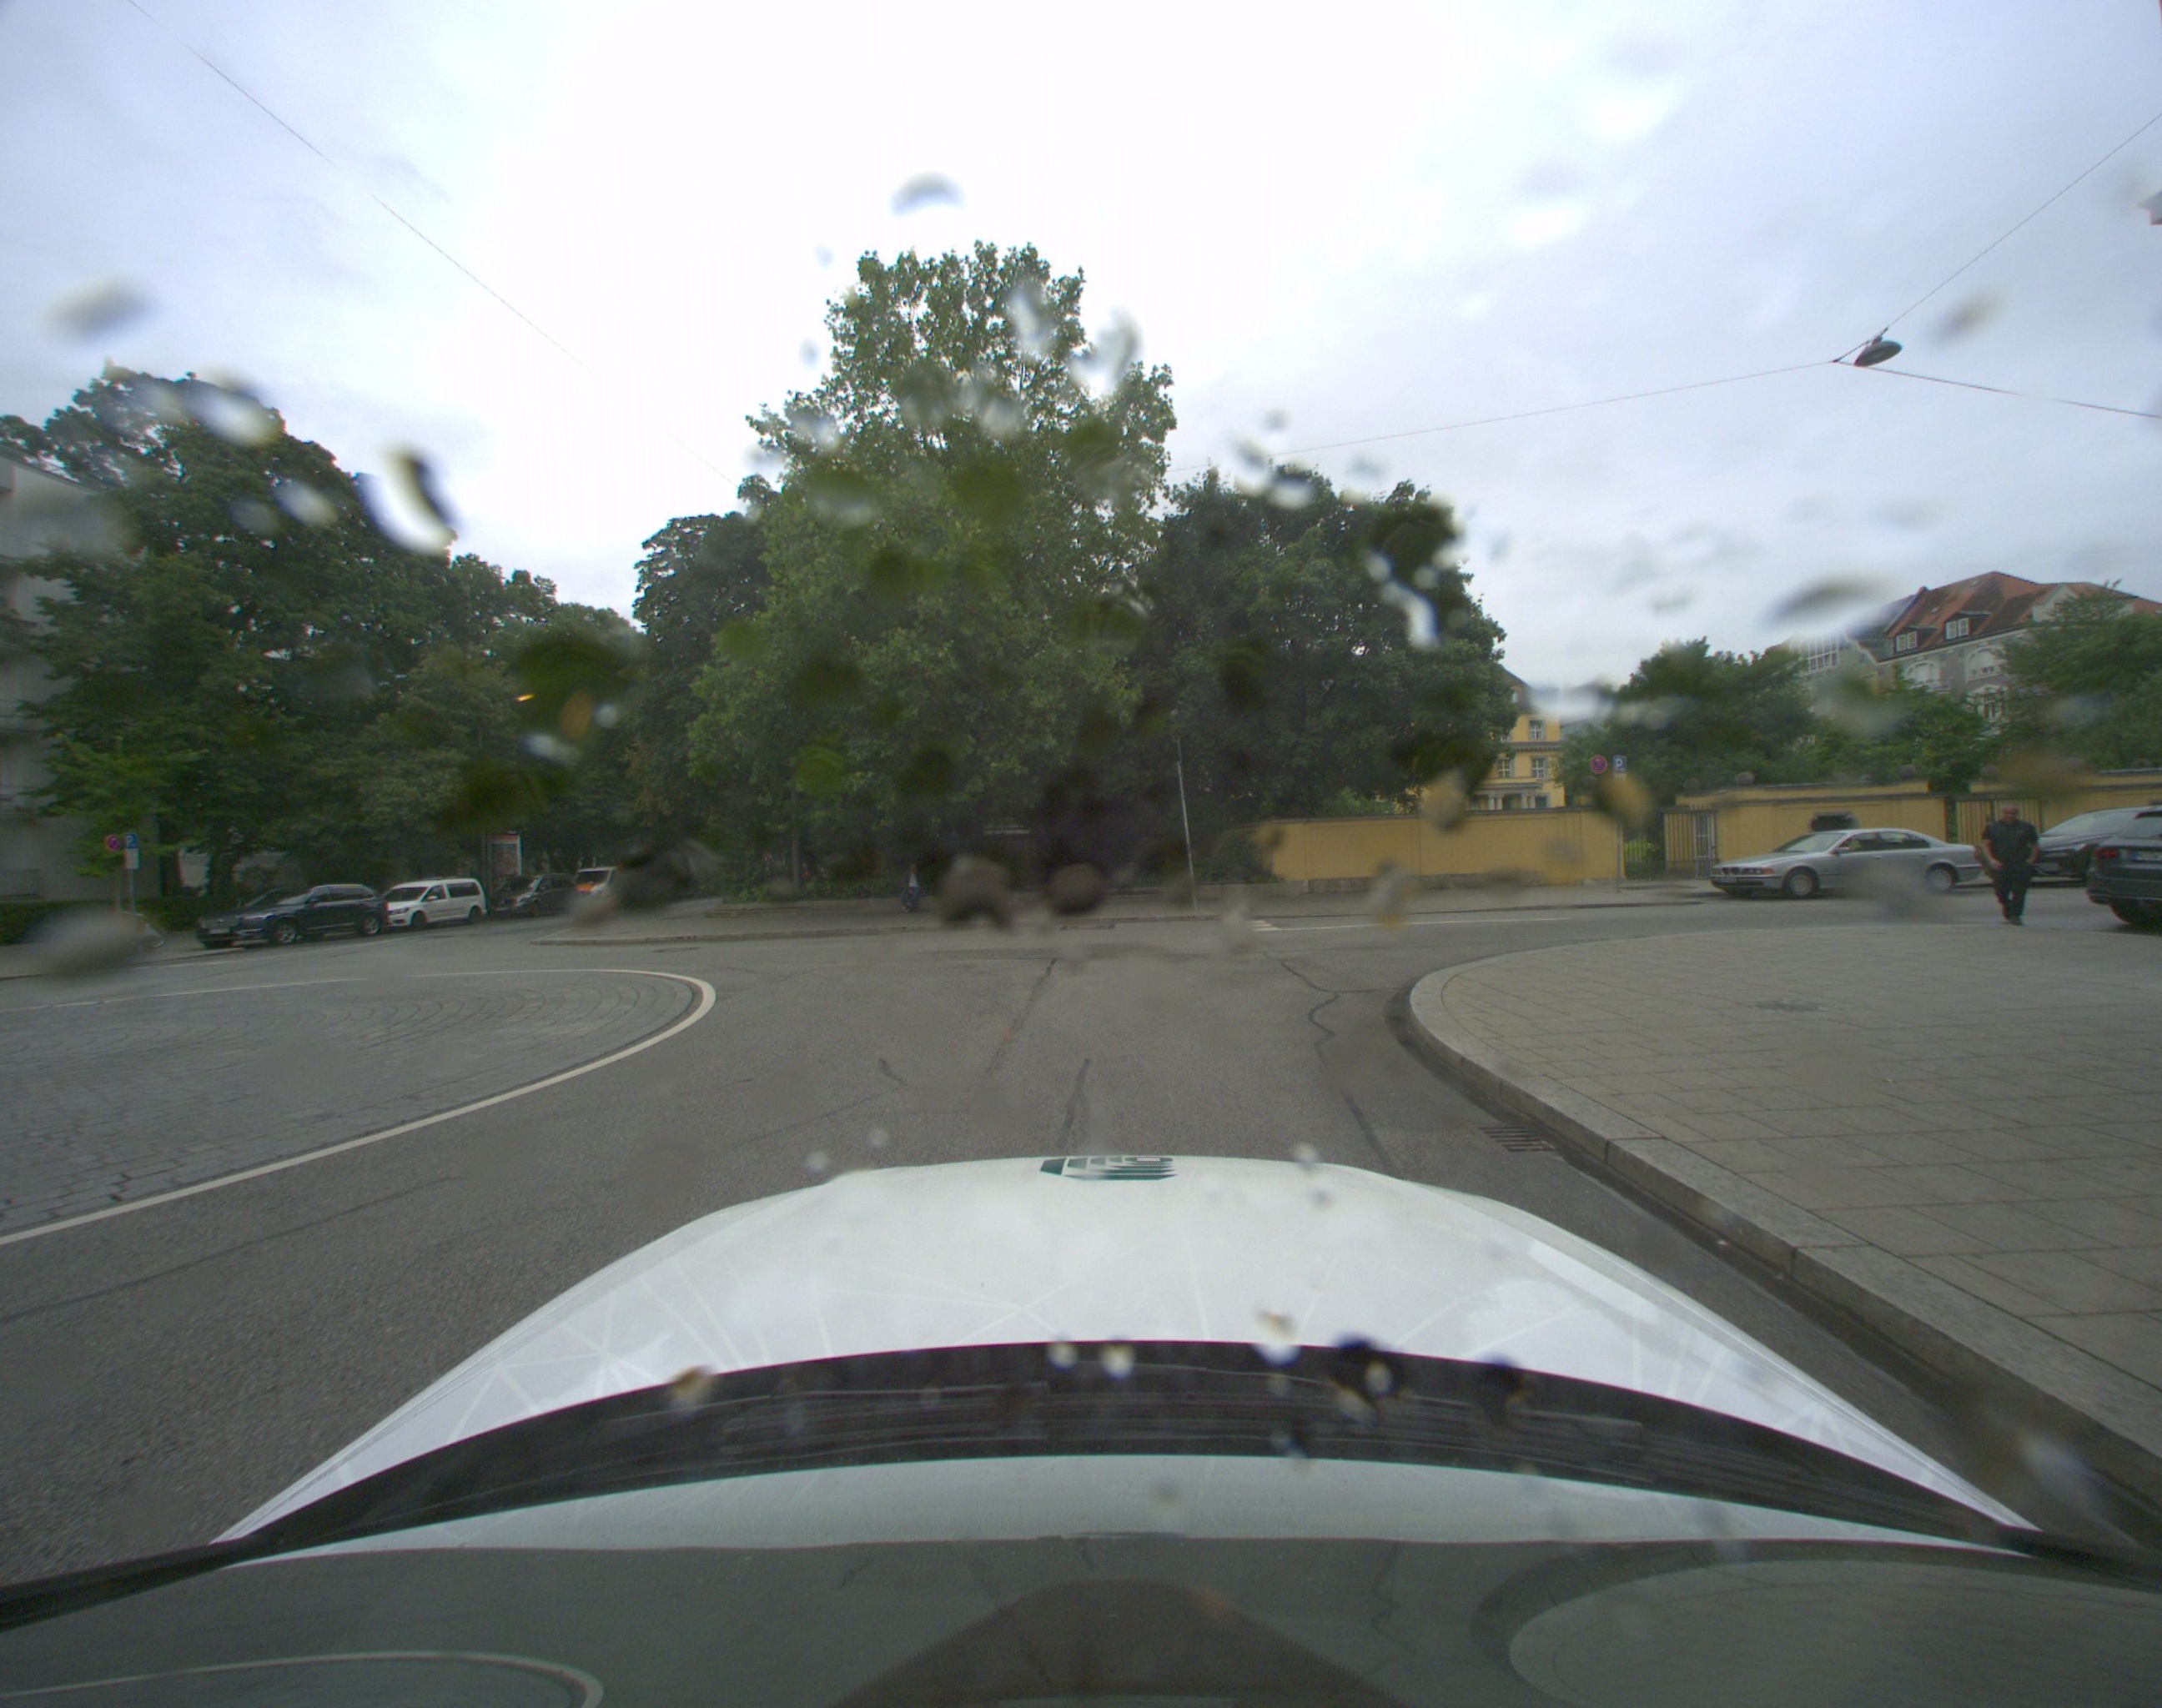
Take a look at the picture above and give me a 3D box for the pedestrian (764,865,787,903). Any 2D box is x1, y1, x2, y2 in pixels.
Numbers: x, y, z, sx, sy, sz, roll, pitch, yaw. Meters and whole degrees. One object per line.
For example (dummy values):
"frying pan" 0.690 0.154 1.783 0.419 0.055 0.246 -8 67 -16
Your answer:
"pedestrian" -15.412 1.503 41.094 0.825 1.836 0.942 -2 -1 -33

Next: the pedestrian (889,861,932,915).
"pedestrian" -4.500 0.873 21.551 0.766 1.356 1.132 -3 0 3

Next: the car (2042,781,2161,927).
"car" 15.421 -0.097 10.302 4.222 1.795 1.893 -3 -1 0

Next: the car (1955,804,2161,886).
"car" 21.682 -0.217 17.425 3.930 1.547 1.797 -3 0 1

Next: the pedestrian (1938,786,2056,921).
"pedestrian" 12.987 -0.003 11.555 0.934 1.801 0.988 -2 -1 -38

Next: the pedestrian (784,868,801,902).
"pedestrian" -14.449 1.539 40.714 0.637 1.667 0.691 -2 -1 -28

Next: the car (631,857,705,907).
"car" -26.778 1.748 53.051 2.170 3.002 6.218 -3 -1 -7

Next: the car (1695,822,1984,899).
"car" 16.138 0.133 17.510 4.433 1.368 1.802 -3 0 2

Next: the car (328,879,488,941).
"car" -24.637 1.982 30.111 2.080 1.903 4.849 -3 0 -5

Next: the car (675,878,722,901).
"car" -27.490 2.522 58.658 1.993 1.420 3.987 -2 0 -9

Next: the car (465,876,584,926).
"car" -25.163 2.044 37.146 2.025 1.908 5.652 -4 0 -8

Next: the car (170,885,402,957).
"car" -23.997 1.938 24.981 2.079 1.719 5.297 -3 0 -4

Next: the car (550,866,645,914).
"car" -26.023 1.852 44.074 2.081 2.264 5.591 -4 0 -6

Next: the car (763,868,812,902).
"car" -18.454 1.883 51.410 1.910 1.937 4.954 -2 -1 -8

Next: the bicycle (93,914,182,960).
"bicycle" -26.478 2.313 22.900 0.753 1.085 1.774 -3 0 -16

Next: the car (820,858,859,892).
"car" -19.742 1.678 66.904 1.991 2.558 5.418 -3 0 -6

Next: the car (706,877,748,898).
"car" -27.859 2.607 64.191 1.993 1.420 4.116 -2 0 -9
